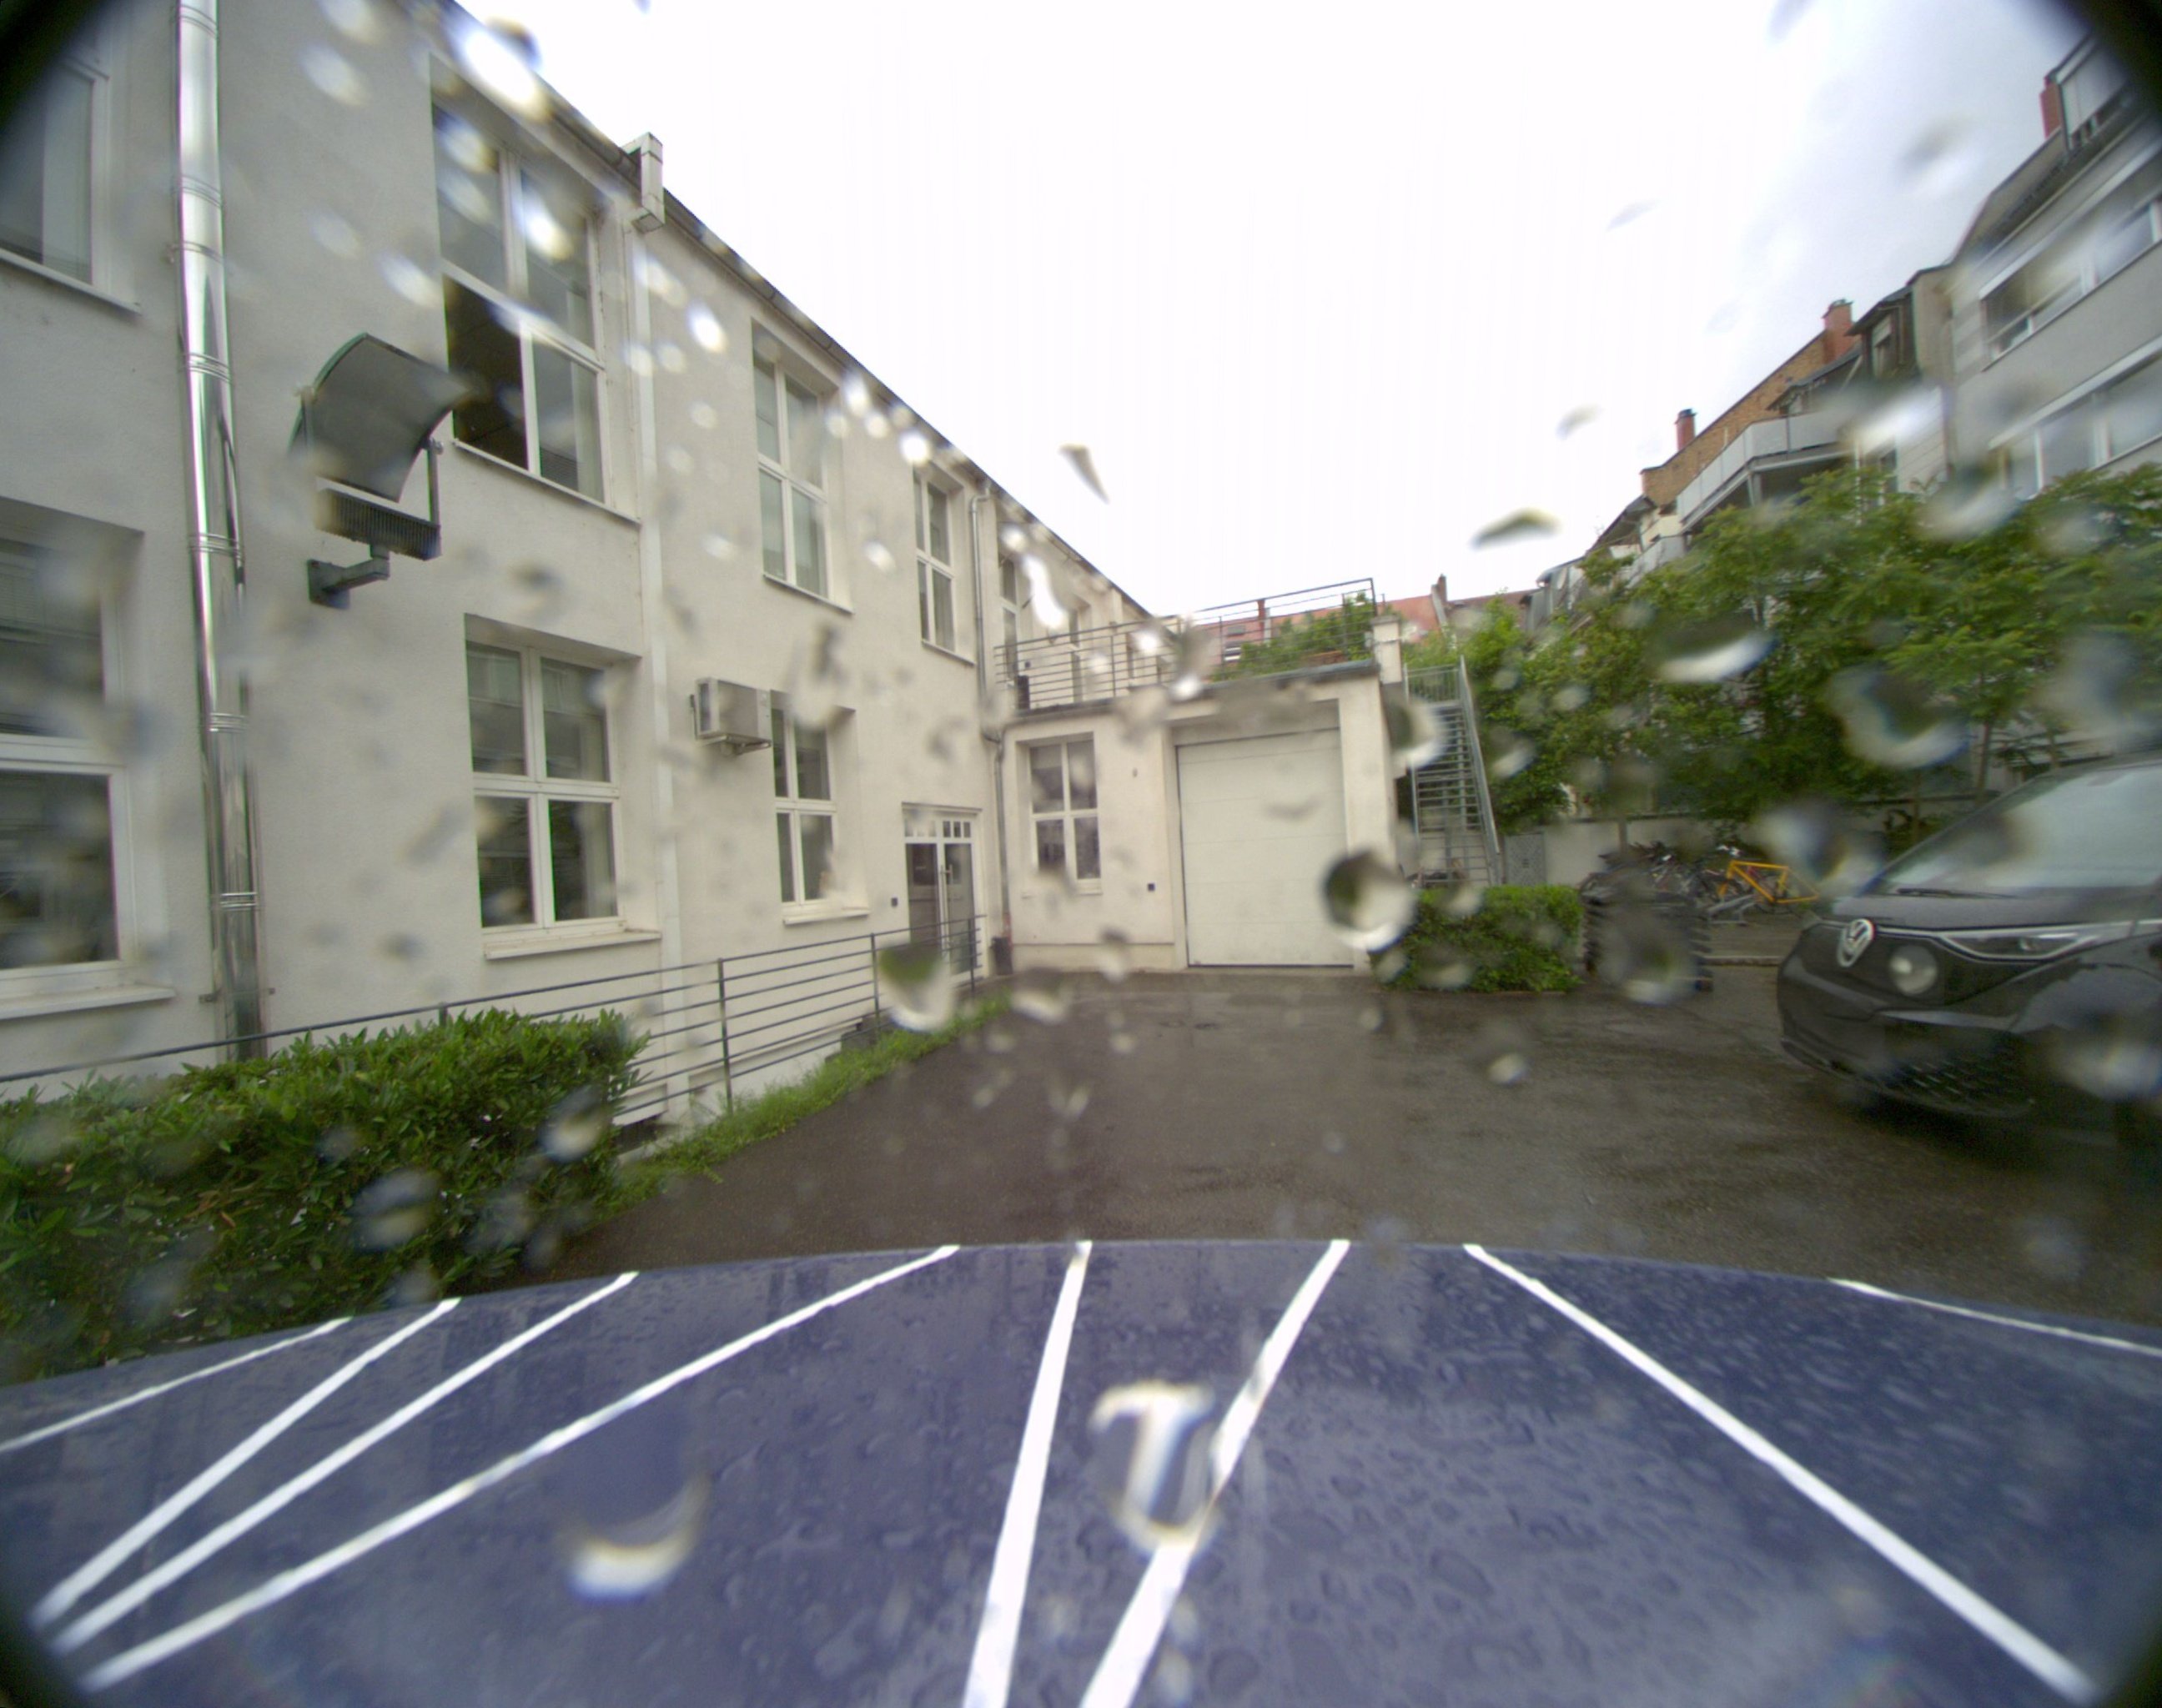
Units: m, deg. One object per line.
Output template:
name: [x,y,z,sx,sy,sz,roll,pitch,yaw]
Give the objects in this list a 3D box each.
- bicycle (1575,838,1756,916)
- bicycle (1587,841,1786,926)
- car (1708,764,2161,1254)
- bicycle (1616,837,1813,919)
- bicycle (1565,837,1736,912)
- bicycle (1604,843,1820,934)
bicycle: [9.887,0.403,12.966,2.316,1.180,0.644,-4,2,24]
bicycle: [9.392,0.473,11.907,2.316,1.180,0.644,-4,2,24]
car: [6.036,0.468,3.293,4.623,1.825,1.991,-4,-1,16]
bicycle: [10.159,0.401,12.297,2.316,1.180,0.644,-4,2,24]
bicycle: [10.091,0.369,13.566,2.316,1.180,0.644,-4,2,24]
bicycle: [9.151,0.514,11.142,2.316,1.180,0.644,-4,2,24]
